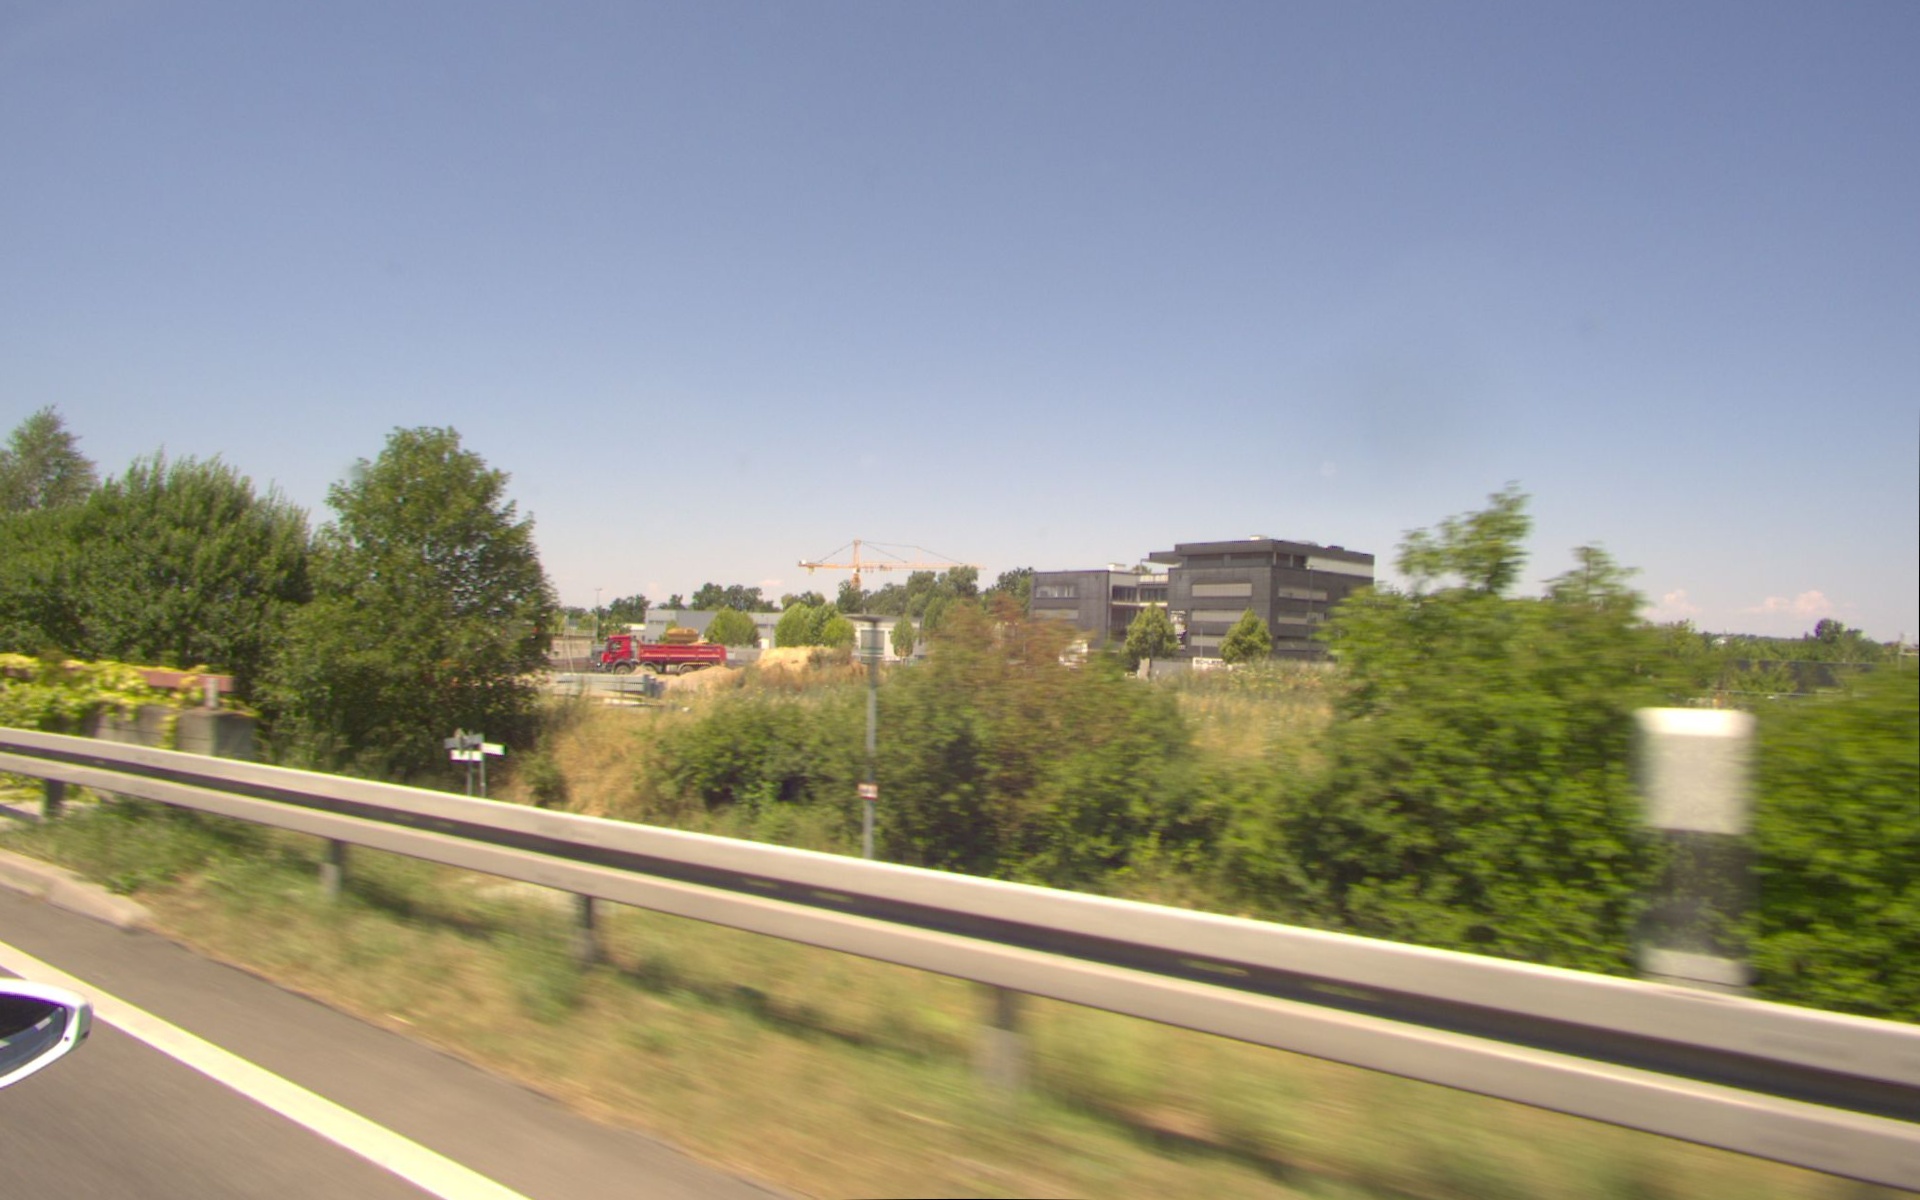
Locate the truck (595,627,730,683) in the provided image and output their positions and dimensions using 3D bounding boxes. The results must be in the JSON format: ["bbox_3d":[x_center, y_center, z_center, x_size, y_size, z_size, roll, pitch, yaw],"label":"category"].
[{"bbox_3d":[-22.069,4.112,74.424,9.263,3.731,3.123,3,-2,-20],"label":"truck"}]
